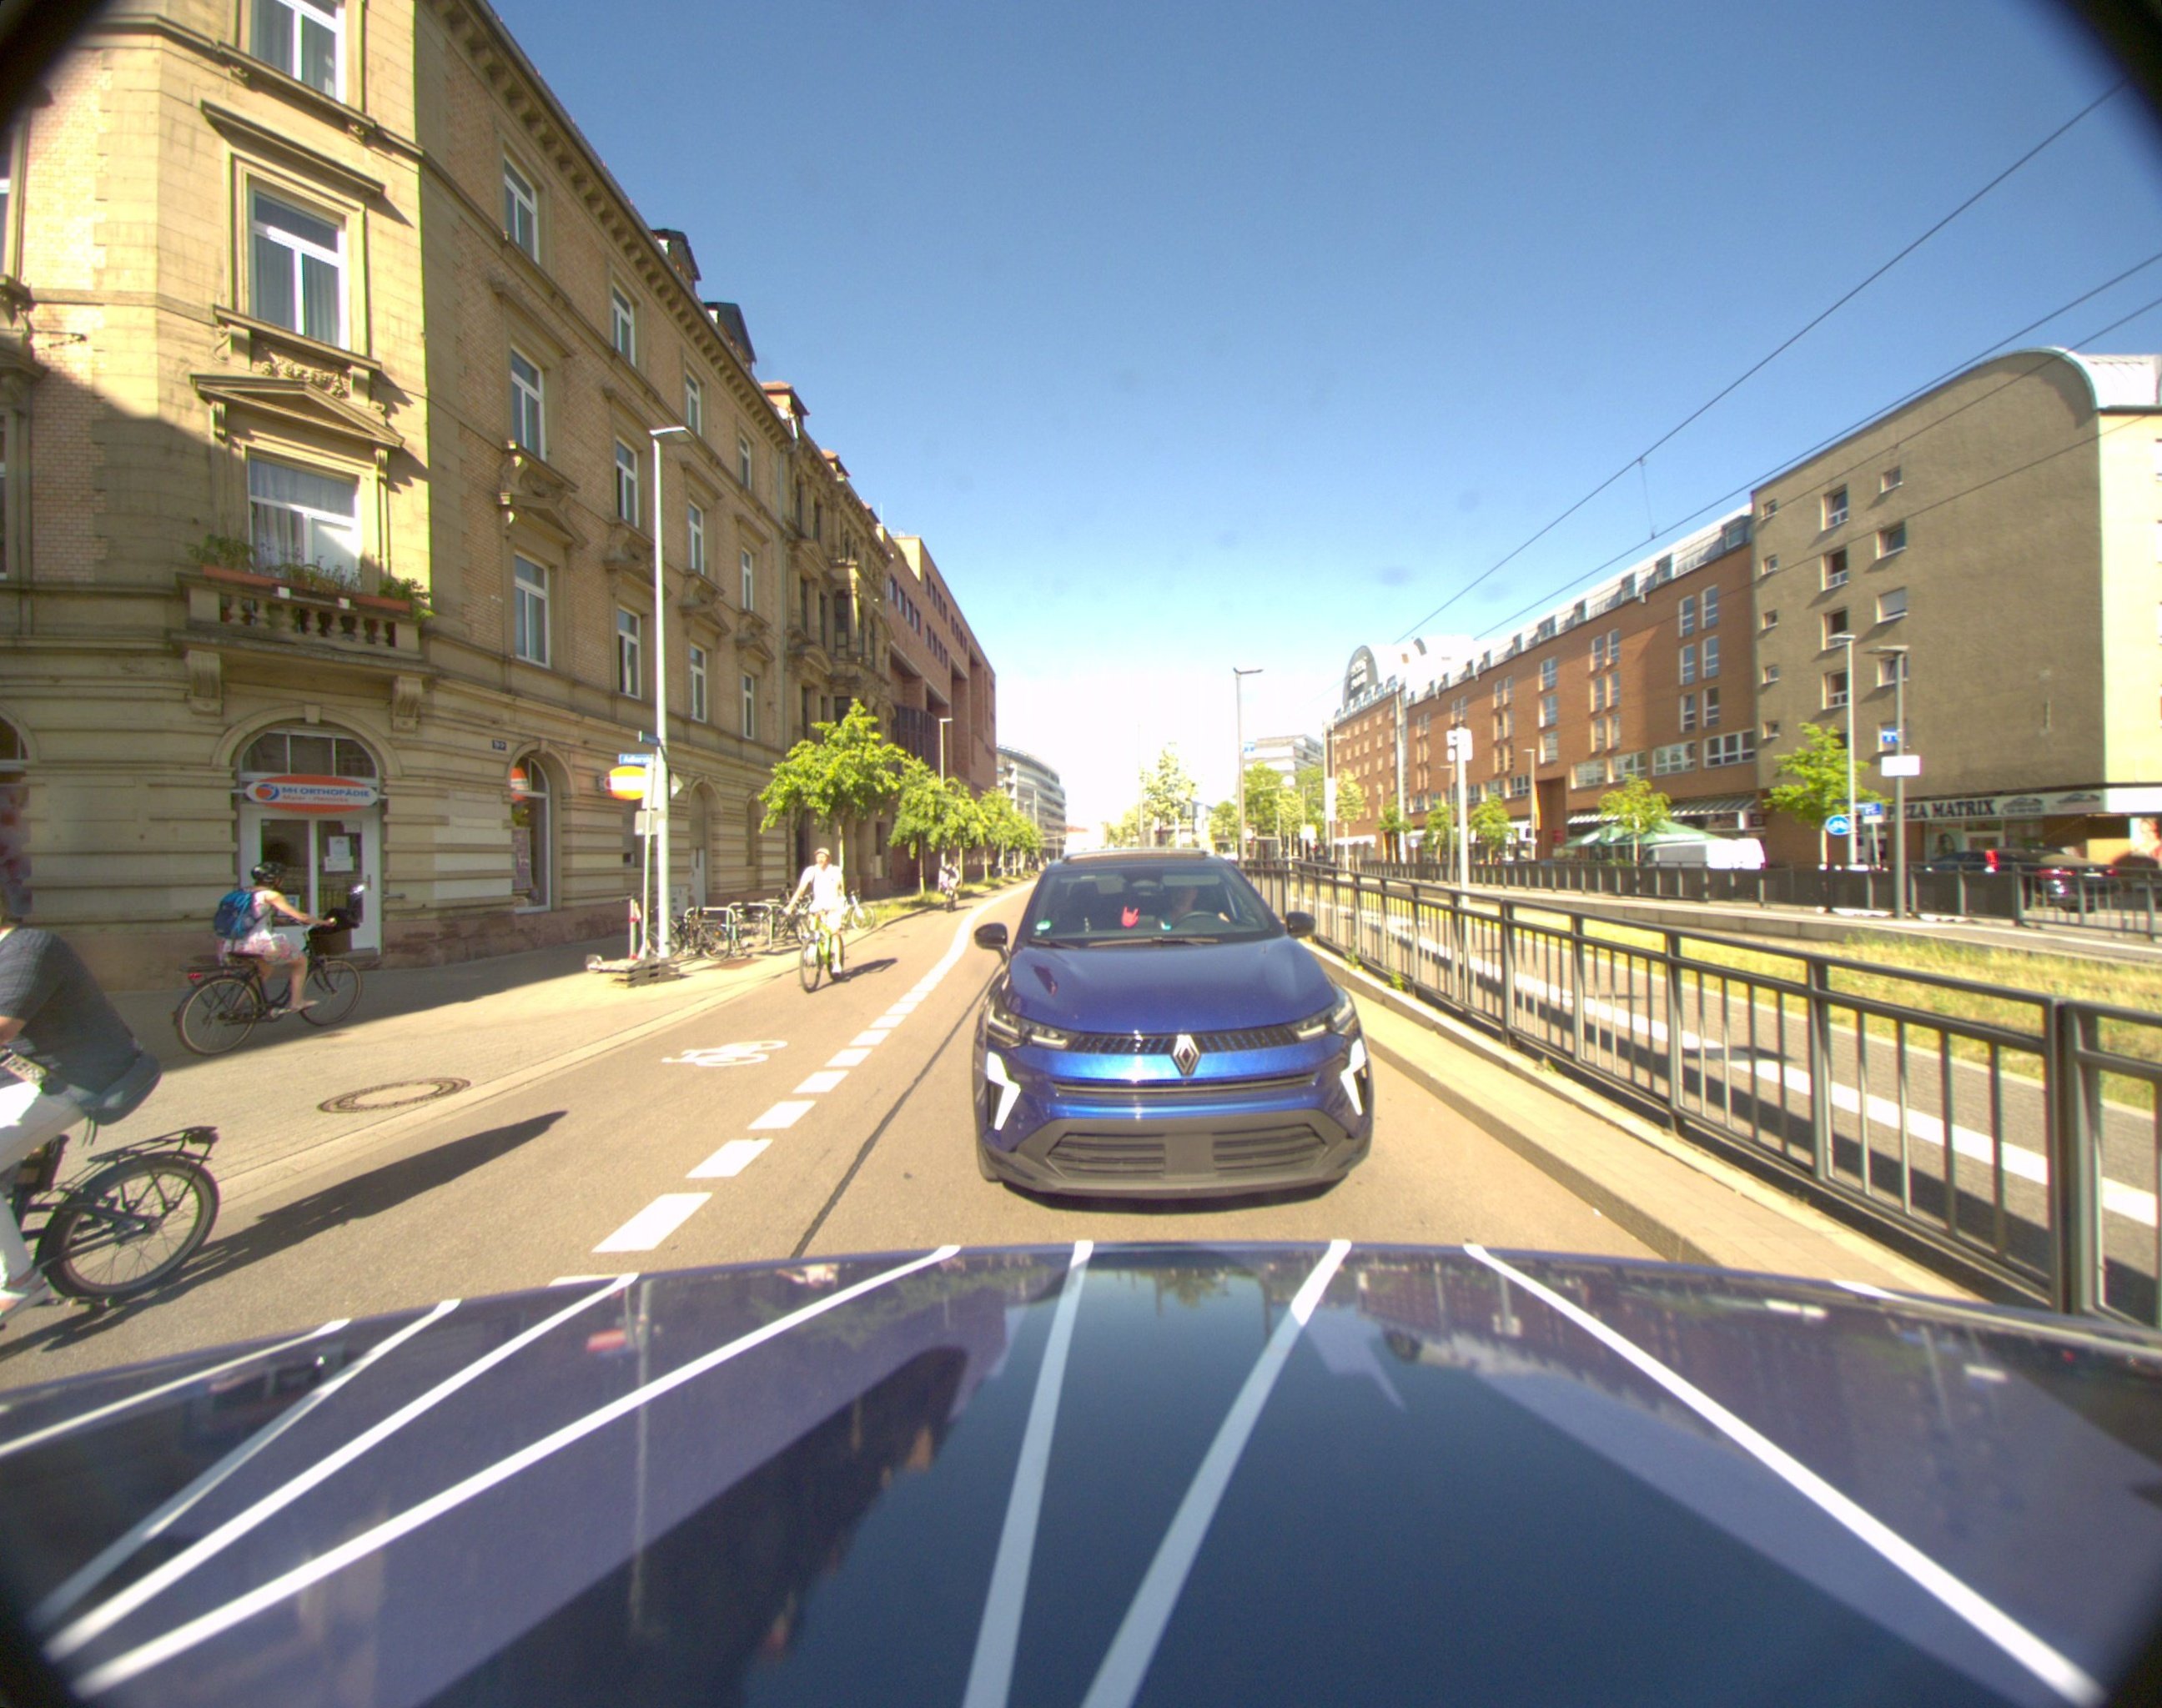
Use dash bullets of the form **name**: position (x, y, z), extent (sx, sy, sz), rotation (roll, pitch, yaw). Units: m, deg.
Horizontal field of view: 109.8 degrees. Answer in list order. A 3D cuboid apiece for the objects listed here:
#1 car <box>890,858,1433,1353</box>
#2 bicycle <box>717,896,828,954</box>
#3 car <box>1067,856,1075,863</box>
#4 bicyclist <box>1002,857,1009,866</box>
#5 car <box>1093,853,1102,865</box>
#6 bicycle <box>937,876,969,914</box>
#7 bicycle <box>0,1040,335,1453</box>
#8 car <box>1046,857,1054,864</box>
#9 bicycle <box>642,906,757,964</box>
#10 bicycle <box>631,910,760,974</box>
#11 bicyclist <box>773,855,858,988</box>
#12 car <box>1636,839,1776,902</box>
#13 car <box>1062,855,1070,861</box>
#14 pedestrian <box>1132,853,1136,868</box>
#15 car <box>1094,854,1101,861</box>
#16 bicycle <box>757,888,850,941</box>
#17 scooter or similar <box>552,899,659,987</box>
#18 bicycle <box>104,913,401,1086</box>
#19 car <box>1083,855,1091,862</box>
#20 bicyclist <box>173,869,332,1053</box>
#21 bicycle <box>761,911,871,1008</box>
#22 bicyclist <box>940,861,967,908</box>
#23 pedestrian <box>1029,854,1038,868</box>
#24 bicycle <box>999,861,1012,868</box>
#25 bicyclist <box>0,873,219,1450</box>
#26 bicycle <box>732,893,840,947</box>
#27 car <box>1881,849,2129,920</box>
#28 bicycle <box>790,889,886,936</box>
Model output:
- **car**: position (0.306, 0.878, 4.806), extent (1.758, 1.576, 4.420), rotation (-4, 0, 1)
- **bicycle**: position (-5.937, 1.369, 14.711), extent (1.876, 1.043, 0.608), rotation (1, 1, -4)
- **car**: position (-2.202, 1.213, 173.700), extent (1.745, 1.543, 4.000), rotation (-1, 0, 1)
- **bicyclist**: position (-11.089, 1.113, 111.259), extent (0.739, 1.301, 0.639), rotation (0, 1, 41)
- **car**: position (3.504, 1.099, 159.000), extent (1.758, 2.471, 4.610), rotation (-1, 0, 1)
- **bicycle**: position (-4.452, 1.418, 26.553), extent (0.725, 1.187, 1.952), rotation (-2, 0, 1)
- **bicycle**: position (-3.688, 1.320, 2.322), extent (0.830, 1.000, 1.952), rotation (-2, 0, 1)
- **car**: position (-7.067, 1.391, 174.214), extent (1.745, 1.543, 4.000), rotation (-1, 0, 0)
- **bicycle**: position (-6.581, 1.397, 13.133), extent (1.717, 0.920, 0.497), rotation (-1, 1, 1)
- **bicycle**: position (-6.331, 1.434, 12.499), extent (1.905, 0.906, 0.592), rotation (1, 2, 9)
- **bicyclist**: position (-3.487, 0.847, 10.049), extent (0.700, 1.647, 0.977), rotation (-2, 0, 1)
- **car**: position (25.337, 0.576, 31.102), extent (1.997, 2.283, 5.192), rotation (-2, 1, 9)
- **car**: position (-3.812, 1.032, 189.859), extent (1.745, 1.543, 4.000), rotation (-1, 0, 1)
- **pedestrian**: position (6.970, 0.877, 100.202), extent (0.482, 1.878, 0.503), rotation (-1, 1, 1)
- **car**: position (4.014, 0.832, 186.247), extent (1.745, 1.543, 4.000), rotation (-1, 0, 0)
- **bicycle**: position (-6.311, 1.363, 17.371), extent (1.678, 1.055, 1.134), rotation (3, 1, -1)
- **scooter or similar**: position (-6.850, 1.264, 10.984), extent (1.199, 1.191, 0.487), rotation (-1, 0, -4)
- **bicycle**: position (-7.793, 1.285, 7.341), extent (0.579, 1.246, 2.097), rotation (-1, 1, -2)
- **car**: position (1.330, 1.091, 172.384), extent (1.745, 1.543, 4.000), rotation (-1, 0, 1)
- **bicyclist**: position (-7.793, 0.966, 7.189), extent (0.579, 1.608, 0.794), rotation (-1, 1, -2)
- **bicycle**: position (-3.467, 1.348, 10.155), extent (0.725, 1.000, 1.952), rotation (-2, 0, 1)
- **bicyclist**: position (-4.467, 1.057, 26.615), extent (0.725, 1.595, 0.895), rotation (-2, 0, 1)
- **pedestrian**: position (-6.707, 0.947, 107.413), extent (0.880, 2.002, 0.764), rotation (-1, 1, 22)
- **bicycle**: position (-11.053, 1.559, 111.237), extent (2.040, 1.013, 0.647), rotation (-1, 0, 39)
- **bicyclist**: position (-3.701, 0.946, 2.349), extent (0.854, 1.716, 0.989), rotation (-2, 0, 1)
- **bicycle**: position (-6.271, 1.389, 16.225), extent (1.903, 1.024, 1.030), rotation (1, 1, -2)
- **car**: position (24.213, 0.712, 20.173), extent (1.699, 1.630, 3.999), rotation (-2, 1, -1)
- **bicycle**: position (-5.982, 1.429, 18.773), extent (2.062, 1.036, 0.847), rotation (2, 1, 0)
